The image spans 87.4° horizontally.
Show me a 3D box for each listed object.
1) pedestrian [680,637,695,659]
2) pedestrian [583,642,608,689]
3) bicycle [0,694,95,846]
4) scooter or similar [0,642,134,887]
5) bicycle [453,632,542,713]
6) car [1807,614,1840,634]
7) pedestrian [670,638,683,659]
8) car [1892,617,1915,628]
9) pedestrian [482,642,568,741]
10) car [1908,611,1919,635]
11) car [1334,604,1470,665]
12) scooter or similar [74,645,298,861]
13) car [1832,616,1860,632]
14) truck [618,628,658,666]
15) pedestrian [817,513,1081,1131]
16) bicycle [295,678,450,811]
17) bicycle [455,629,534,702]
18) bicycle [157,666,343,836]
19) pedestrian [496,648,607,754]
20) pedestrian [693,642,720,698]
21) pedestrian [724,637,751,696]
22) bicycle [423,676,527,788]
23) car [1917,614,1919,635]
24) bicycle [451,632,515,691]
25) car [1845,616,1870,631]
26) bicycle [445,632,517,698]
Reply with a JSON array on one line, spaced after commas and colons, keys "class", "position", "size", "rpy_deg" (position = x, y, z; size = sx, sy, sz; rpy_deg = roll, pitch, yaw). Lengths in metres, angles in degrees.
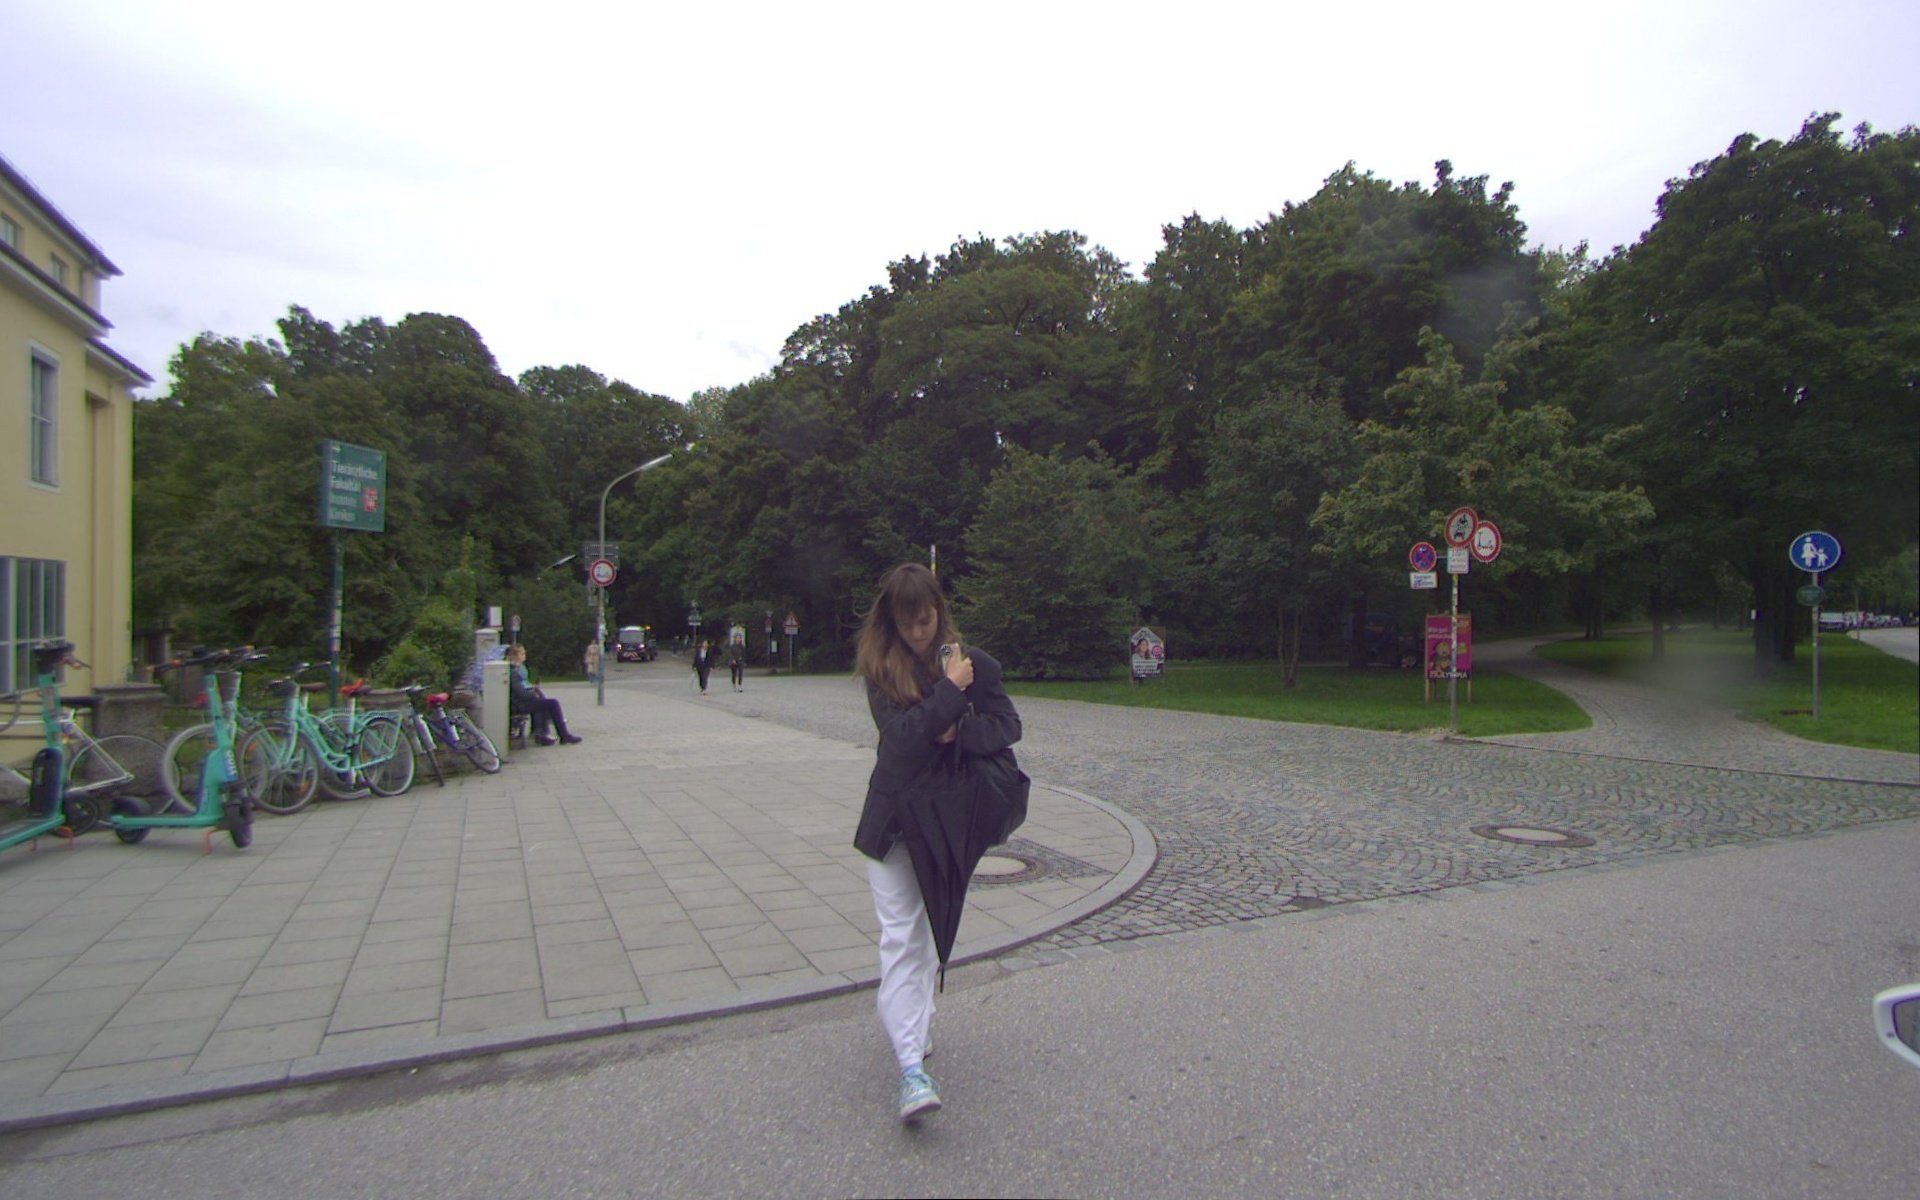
[{"class": "pedestrian", "position": [-21.987, 3.866, 81.027], "size": [0.876, 1.674, 0.724], "rpy_deg": [1, -2, -43]}, {"class": "pedestrian", "position": [-13.832, 2.458, 38.097], "size": [0.740, 1.728, 1.103], "rpy_deg": [0, -1, -29]}, {"class": "bicycle", "position": [-6.230, 1.055, 6.181], "size": [1.322, 0.905, 0.429], "rpy_deg": [4, -3, -45]}, {"class": "scooter or similar", "position": [-5.387, 0.894, 5.795], "size": [0.388, 1.260, 1.261], "rpy_deg": [2, -1, -13]}, {"class": "bicycle", "position": [-10.610, 1.596, 22.957], "size": [1.044, 1.684, 3.115], "rpy_deg": [1, -1, -41]}, {"class": "car", "position": [70.767, 1.961, 82.353], "size": [1.970, 1.622, 4.446], "rpy_deg": [0, -1, 40]}, {"class": "pedestrian", "position": [-22.576, 3.848, 79.949], "size": [0.865, 1.674, 0.733], "rpy_deg": [0, -1, -1]}, {"class": "car", "position": [135.430, 3.222, 144.151], "size": [4.433, 1.622, 1.976], "rpy_deg": [1, -1, -42]}, {"class": "pedestrian", "position": [-6.359, 1.303, 14.667], "size": [1.021, 1.353, 0.947], "rpy_deg": [1, -1, -32]}, {"class": "car", "position": [81.547, 1.956, 84.828], "size": [2.044, 1.992, 4.949], "rpy_deg": [0, -1, 43]}, {"class": "car", "position": [15.153, 1.186, 34.587], "size": [3.919, 2.040, 1.789], "rpy_deg": [0, -1, 6]}, {"class": "scooter or similar", "position": [-4.776, 0.916, 6.221], "size": [1.032, 1.228, 0.440], "rpy_deg": [2, -1, 6]}, {"class": "car", "position": [91.864, 2.479, 104.115], "size": [1.973, 1.622, 4.440], "rpy_deg": [0, -1, 44]}, {"class": "truck", "position": [-22.833, 3.267, 71.359], "size": [2.360, 2.493, 5.478], "rpy_deg": [0, -1, -14]}, {"class": "pedestrian", "position": [-0.041, 0.628, 3.227], "size": [0.660, 1.719, 0.538], "rpy_deg": [1, -2, -37]}, {"class": "bicycle", "position": [-5.045, 1.208, 8.705], "size": [0.406, 0.990, 1.277], "rpy_deg": [0, -1, 11]}, {"class": "bicycle", "position": [-11.827, 1.603, 25.456], "size": [1.044, 1.684, 2.968], "rpy_deg": [1, -1, -41]}, {"class": "bicycle", "position": [-5.300, 1.084, 7.567], "size": [0.295, 1.126, 1.192], "rpy_deg": [1, -1, 15]}, {"class": "pedestrian", "position": [-5.413, 1.298, 13.308], "size": [1.252, 1.285, 0.843], "rpy_deg": [1, -1, -32]}, {"class": "pedestrian", "position": [-7.501, 2.046, 29.702], "size": [0.682, 1.602, 0.748], "rpy_deg": [0, -1, -21]}, {"class": "pedestrian", "position": [-6.667, 1.969, 30.057], "size": [0.651, 1.720, 0.747], "rpy_deg": [0, -1, -23]}, {"class": "bicycle", "position": [-4.856, 1.293, 10.131], "size": [0.406, 0.990, 1.276], "rpy_deg": [0, -1, 1]}, {"class": "car", "position": [75.524, 1.919, 77.576], "size": [1.969, 1.622, 4.235], "rpy_deg": [0, -1, 39]}, {"class": "bicycle", "position": [-15.035, 1.893, 31.596], "size": [1.044, 1.684, 3.115], "rpy_deg": [1, -1, -40]}, {"class": "car", "position": [102.763, 2.677, 115.044], "size": [1.973, 1.622, 4.440], "rpy_deg": [0, -1, 44]}, {"class": "bicycle", "position": [-13.435, 1.758, 28.110], "size": [1.044, 1.684, 3.115], "rpy_deg": [1, -1, -40]}]
